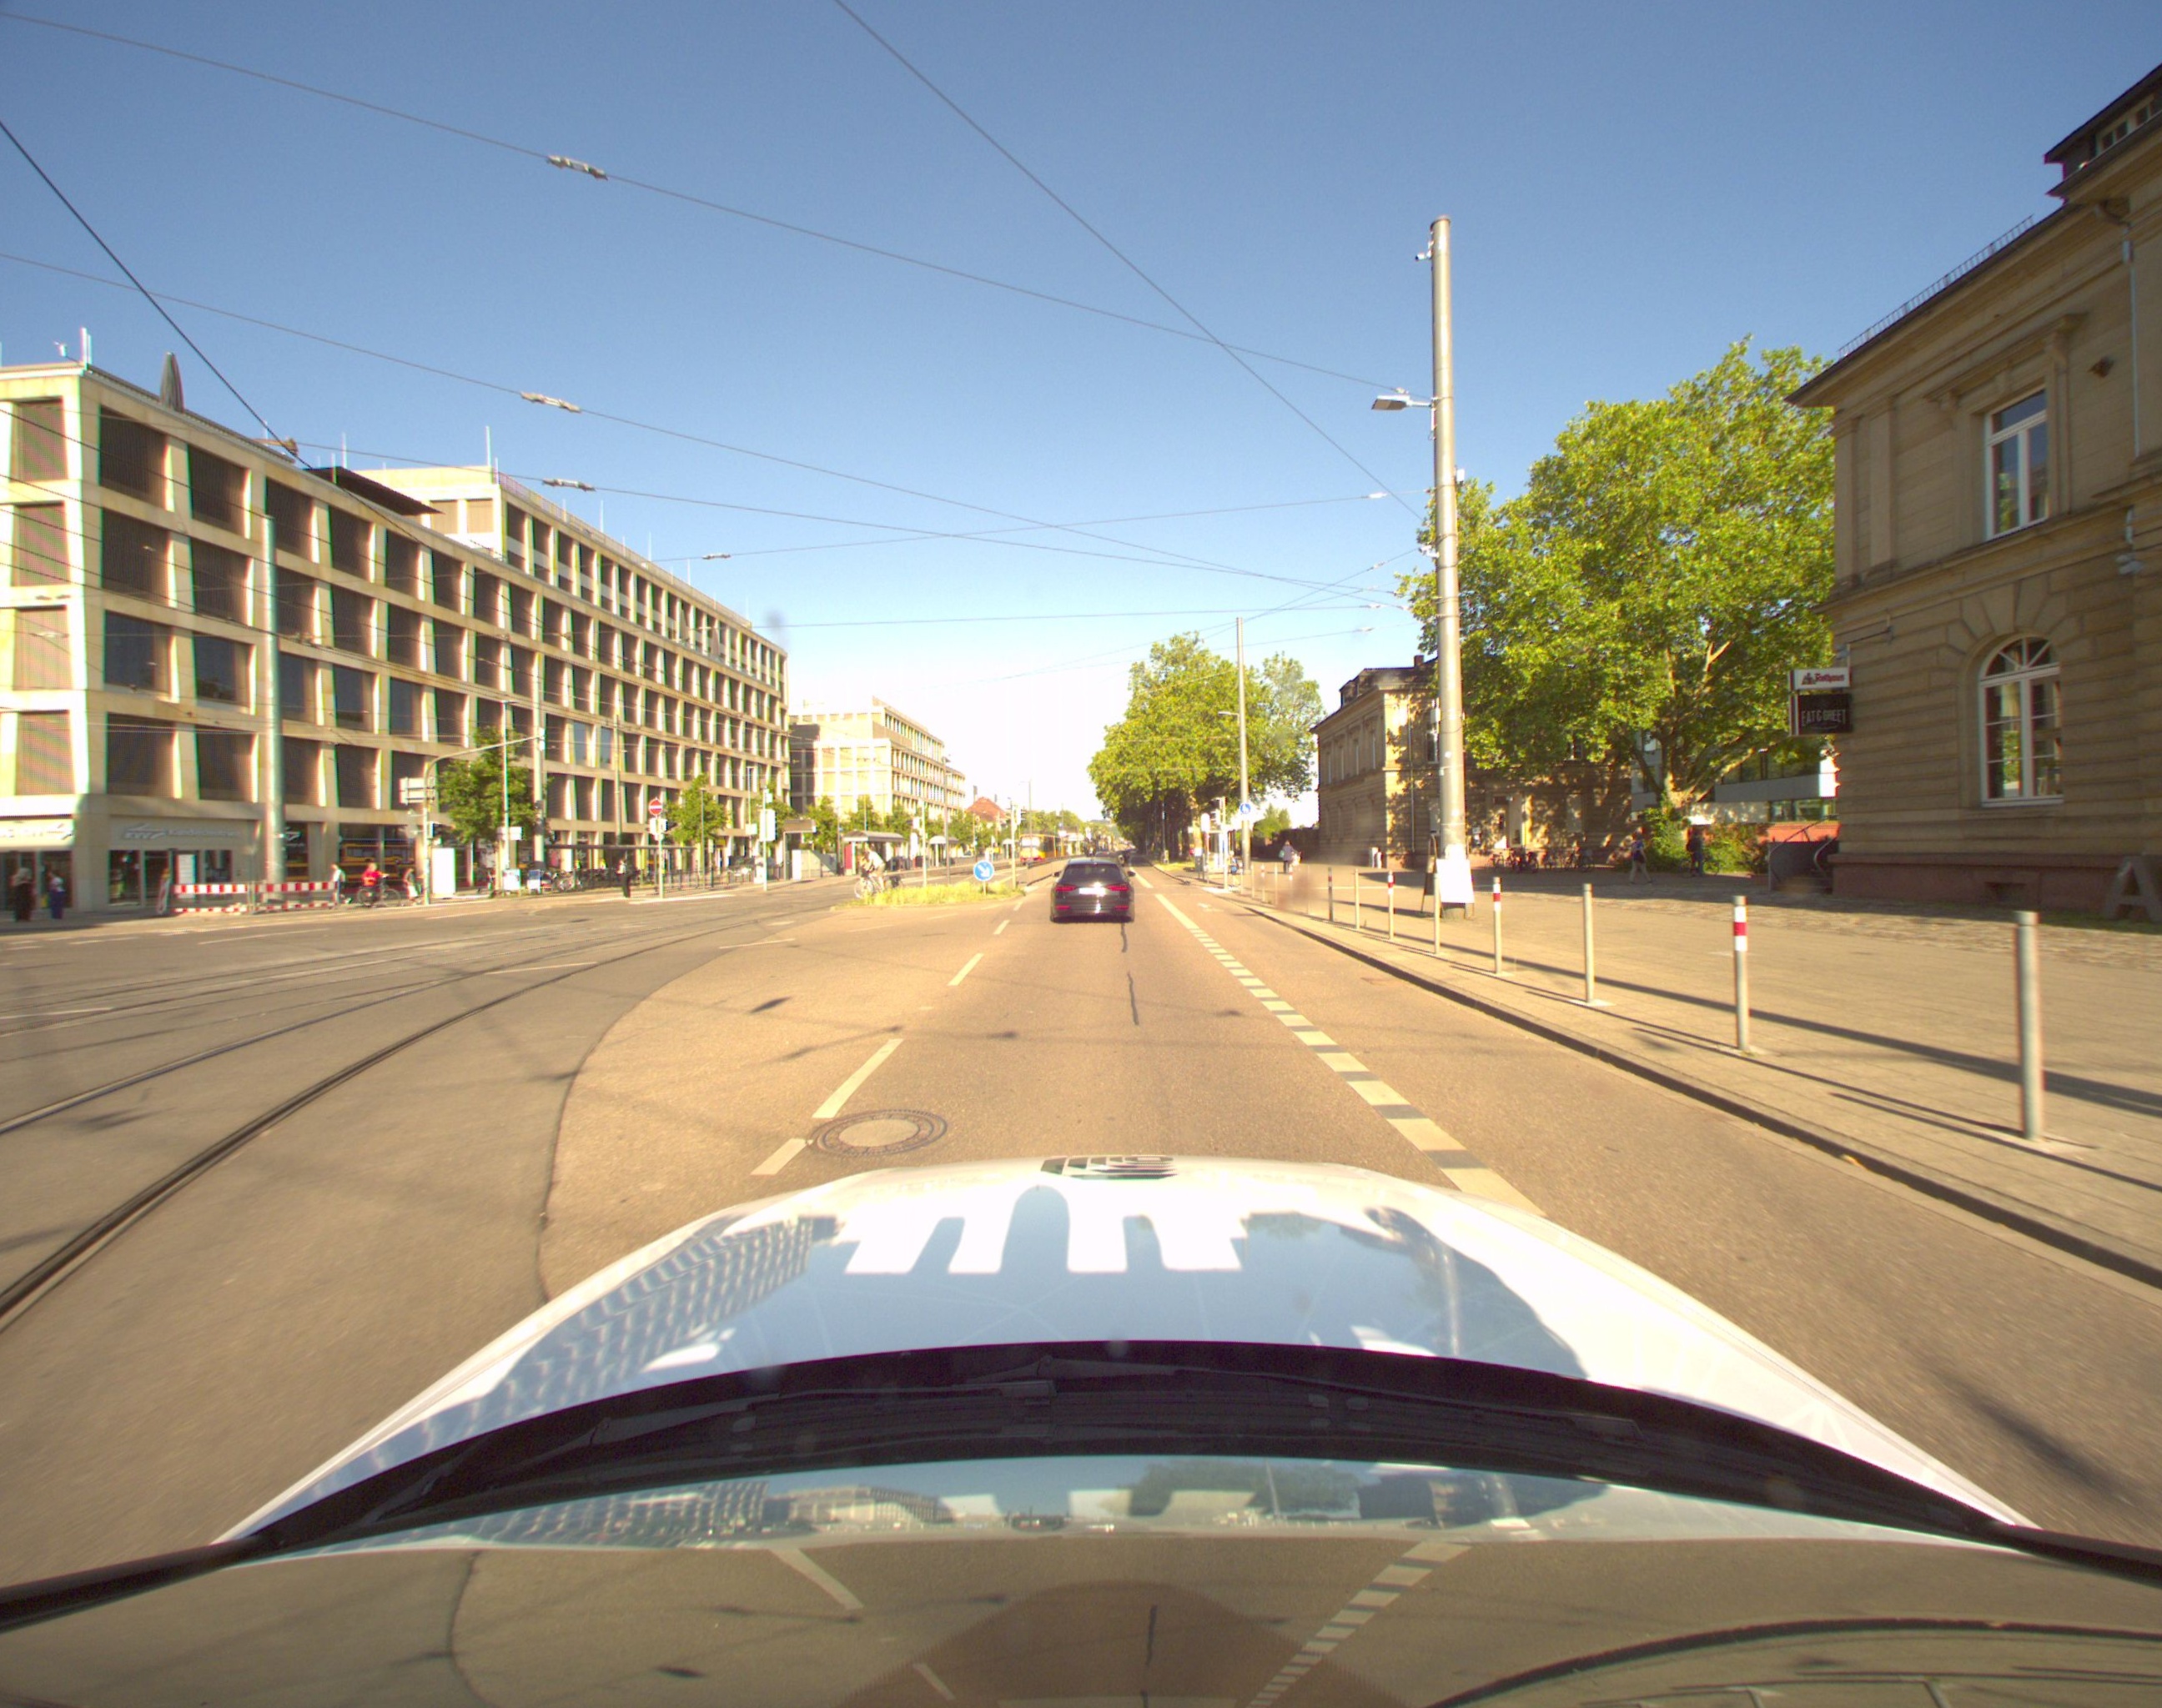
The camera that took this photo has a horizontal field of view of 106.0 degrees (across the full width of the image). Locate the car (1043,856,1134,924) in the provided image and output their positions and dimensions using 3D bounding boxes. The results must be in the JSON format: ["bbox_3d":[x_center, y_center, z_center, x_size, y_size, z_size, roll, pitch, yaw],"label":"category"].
[{"bbox_3d":[0.283,0.784,19.355,1.894,1.422,4.149,-1,-1,4],"label":"car"}]

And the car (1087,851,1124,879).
[{"bbox_3d":[1.417,0.605,45.964,1.894,1.486,4.149,-1,-1,4],"label":"car"}]

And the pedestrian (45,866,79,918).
[{"bbox_3d":[-32.973,1.233,26.345,0.581,1.636,0.539,-1,0,24],"label":"pedestrian"}]

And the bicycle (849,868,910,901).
[{"bbox_3d":[-7.327,1.109,29.629,1.998,1.108,0.765,-1,0,2],"label":"bicycle"}]

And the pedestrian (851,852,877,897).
[{"bbox_3d":[-8.497,0.786,31.924,0.735,1.741,0.666,-1,0,12],"label":"pedestrian"}]

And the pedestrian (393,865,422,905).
[{"bbox_3d":[-25.949,1.189,31.400,0.590,1.525,0.585,-1,0,11],"label":"pedestrian"}]

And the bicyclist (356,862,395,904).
[{"bbox_3d":[-26.292,1.086,30.363,0.699,1.525,0.787,-1,0,11],"label":"bicyclist"}]

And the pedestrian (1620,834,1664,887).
[{"bbox_3d":[20.140,0.228,29.231,0.979,1.865,0.824,-1,0,-10],"label":"pedestrian"}]

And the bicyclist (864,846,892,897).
[{"bbox_3d":[-7.377,0.615,29.643,0.754,1.818,0.765,-1,0,2],"label":"bicyclist"}]

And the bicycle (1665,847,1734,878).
[{"bbox_3d":[24.828,0.333,32.701,2.351,1.204,0.824,-1,0,-10],"label":"bicycle"}]

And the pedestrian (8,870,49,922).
[{"bbox_3d":[-33.720,1.331,26.093,0.583,1.636,0.537,-1,0,6],"label":"pedestrian"}]

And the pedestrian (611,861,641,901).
[{"bbox_3d":[-17.917,1.040,32.093,0.752,1.532,0.626,-1,0,7],"label":"pedestrian"}]

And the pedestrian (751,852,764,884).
[{"bbox_3d":[-17.033,0.726,42.885,0.619,1.664,0.510,-1,0,-22],"label":"pedestrian"}]

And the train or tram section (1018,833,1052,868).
[{"bbox_3d":[-4.891,-0.407,87.748,2.599,3.451,11.137,-1,0,2],"label":"train or tram section"}]

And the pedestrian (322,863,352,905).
[{"bbox_3d":[-28.952,1.160,31.710,0.578,1.574,0.597,-1,0,9],"label":"pedestrian"}]

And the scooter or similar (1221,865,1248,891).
[{"bbox_3d":[5.832,0.906,31.005,0.935,0.966,0.361,-2,-1,1],"label":"scooter or similar"}]

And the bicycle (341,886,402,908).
[{"bbox_3d":[-26.429,1.606,30.344,1.961,0.775,0.622,-1,0,11],"label":"bicycle"}]

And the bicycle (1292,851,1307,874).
[{"bbox_3d":[11.208,0.424,41.800,0.433,1.145,1.341,-1,0,2],"label":"bicycle"}]

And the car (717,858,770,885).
[{"bbox_3d":[-23.722,1.190,57.346,1.834,1.812,4.116,-2,0,3],"label":"car"}]

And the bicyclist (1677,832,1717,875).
[{"bbox_3d":[24.729,-0.026,32.703,0.979,1.712,0.824,-1,0,-10],"label":"bicyclist"}]

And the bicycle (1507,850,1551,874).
[{"bbox_3d":[20.382,0.332,37.095,0.525,1.047,2.355,-1,0,-5],"label":"bicycle"}]

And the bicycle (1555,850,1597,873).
[{"bbox_3d":[22.858,0.327,37.650,0.524,1.047,2.230,-1,0,-1],"label":"bicycle"}]

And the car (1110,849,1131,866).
[{"bbox_3d":[3.775,0.326,77.452,1.894,1.486,4.148,-1,-1,4],"label":"car"}]

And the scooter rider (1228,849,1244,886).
[{"bbox_3d":[5.891,0.525,31.002,0.483,1.385,0.377,-2,-1,1],"label":"scooter rider"}]

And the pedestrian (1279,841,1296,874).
[{"bbox_3d":[10.581,0.184,41.806,0.679,1.660,0.759,-1,0,1],"label":"pedestrian"}]

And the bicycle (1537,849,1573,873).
[{"bbox_3d":[21.790,0.321,37.492,0.523,1.047,2.233,-1,0,5],"label":"bicycle"}]

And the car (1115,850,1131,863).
[{"bbox_3d":[5.171,0.318,100.225,1.894,1.486,4.148,-1,-1,4],"label":"car"}]

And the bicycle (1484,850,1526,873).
[{"bbox_3d":[19.324,0.330,37.168,0.525,1.047,2.355,-1,0,-5],"label":"bicycle"}]
